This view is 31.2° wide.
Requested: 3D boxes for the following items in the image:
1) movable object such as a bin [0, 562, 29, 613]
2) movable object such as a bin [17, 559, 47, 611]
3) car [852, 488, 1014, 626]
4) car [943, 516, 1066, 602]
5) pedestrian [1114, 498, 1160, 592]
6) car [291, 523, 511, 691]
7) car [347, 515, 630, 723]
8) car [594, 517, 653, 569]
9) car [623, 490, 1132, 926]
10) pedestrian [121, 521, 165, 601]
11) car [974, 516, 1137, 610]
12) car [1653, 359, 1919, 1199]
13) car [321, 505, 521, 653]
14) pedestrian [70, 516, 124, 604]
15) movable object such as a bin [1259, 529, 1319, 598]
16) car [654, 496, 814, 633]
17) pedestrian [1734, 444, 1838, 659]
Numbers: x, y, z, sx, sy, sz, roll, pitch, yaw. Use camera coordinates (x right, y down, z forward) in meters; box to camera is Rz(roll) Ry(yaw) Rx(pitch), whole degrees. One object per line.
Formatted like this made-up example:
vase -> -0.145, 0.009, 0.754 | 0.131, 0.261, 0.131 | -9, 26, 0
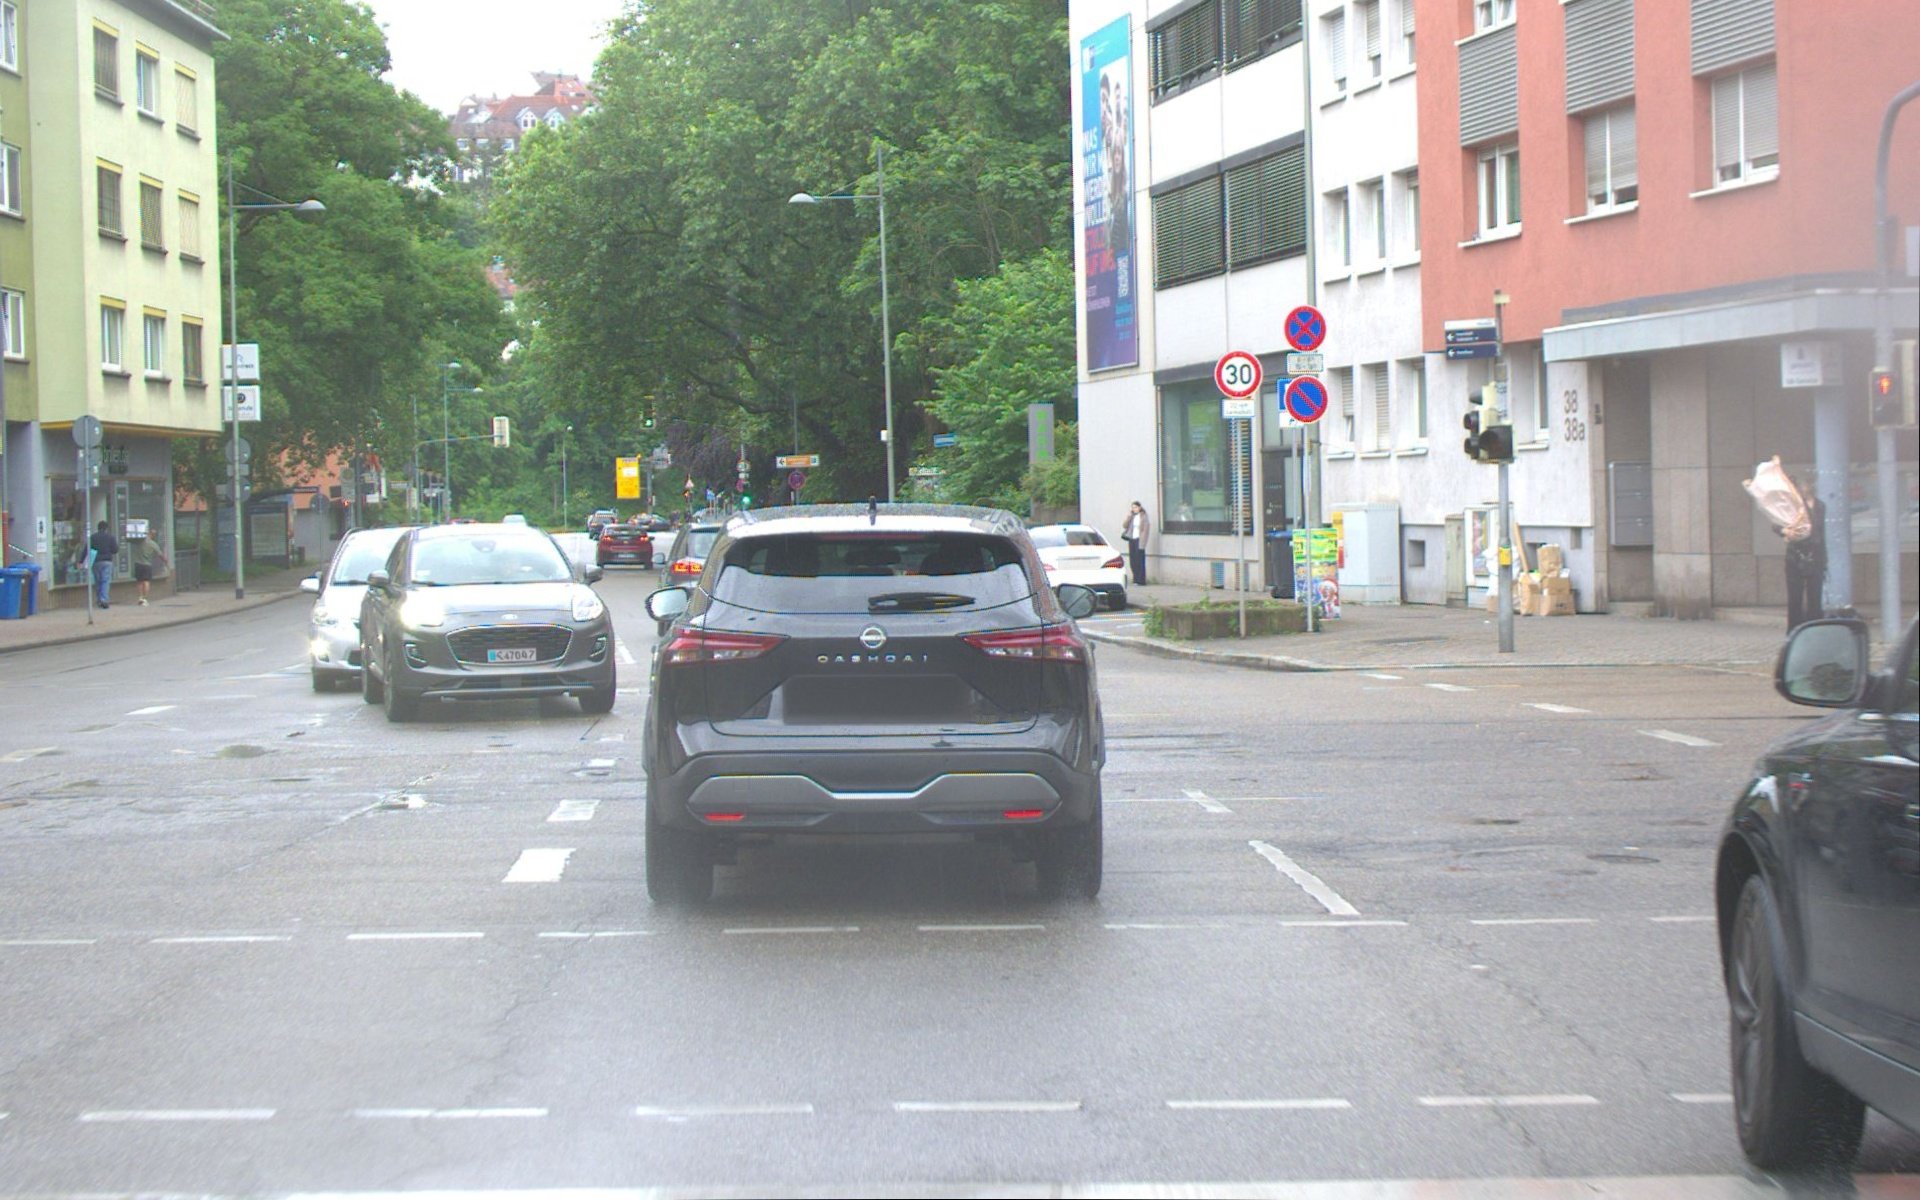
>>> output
movable object such as a bin -> -17.784, -0.237, 64.558 | 0.454, 0.926, 0.502 | -1, 2, 0
movable object such as a bin -> -18.004, -0.295, 66.708 | 0.399, 1.003, 0.545 | -1, 2, 0
car -> -0.431, -0.625, 49.801 | 1.945, 1.810, 4.001 | -3, 1, -5
car -> 0.776, -0.781, 63.197 | 1.714, 1.437, 4.083 | -3, 2, -6
pedestrian -> 3.362, -1.045, 65.267 | 0.612, 1.731, 0.681 | -3, 1, -14
car -> -5.526, 0.051, 34.414 | 1.934, 1.521, 4.136 | -2, 1, -7
car -> -3.993, 0.116, 28.573 | 1.855, 1.547, 4.228 | -2, 1, -14
car -> -10.967, -1.871, 111.916 | 1.820, 1.606, 3.866 | 1, 2, -6
car -> -0.436, 0.371, 14.843 | 1.894, 1.623, 4.001 | 0, 1, -4
pedestrian -> -17.534, -0.848, 73.758 | 0.798, 1.682, 0.817 | -1, 1, -7
car -> 1.523, -0.647, 56.738 | 1.774, 1.396, 4.581 | -3, 2, -9
car -> 2.830, 0.475, 6.548 | 2.021, 1.863, 4.900 | 0, 2, 0
car -> -6.272, -0.251, 40.455 | 1.820, 1.603, 4.431 | -2, 1, -3
pedestrian -> -17.800, -0.838, 70.925 | 0.865, 1.782, 0.875 | 1, 1, -1
movable object such as a bin -> 5.257, -0.585, 54.953 | 0.712, 1.064, 0.784 | -2, 2, -13
car -> -3.122, -0.486, 46.772 | 1.945, 1.679, 4.001 | -3, 1, -6
pedestrian -> 8.366, -0.498, 34.836 | 0.825, 2.151, 0.770 | 1, 2, -1
